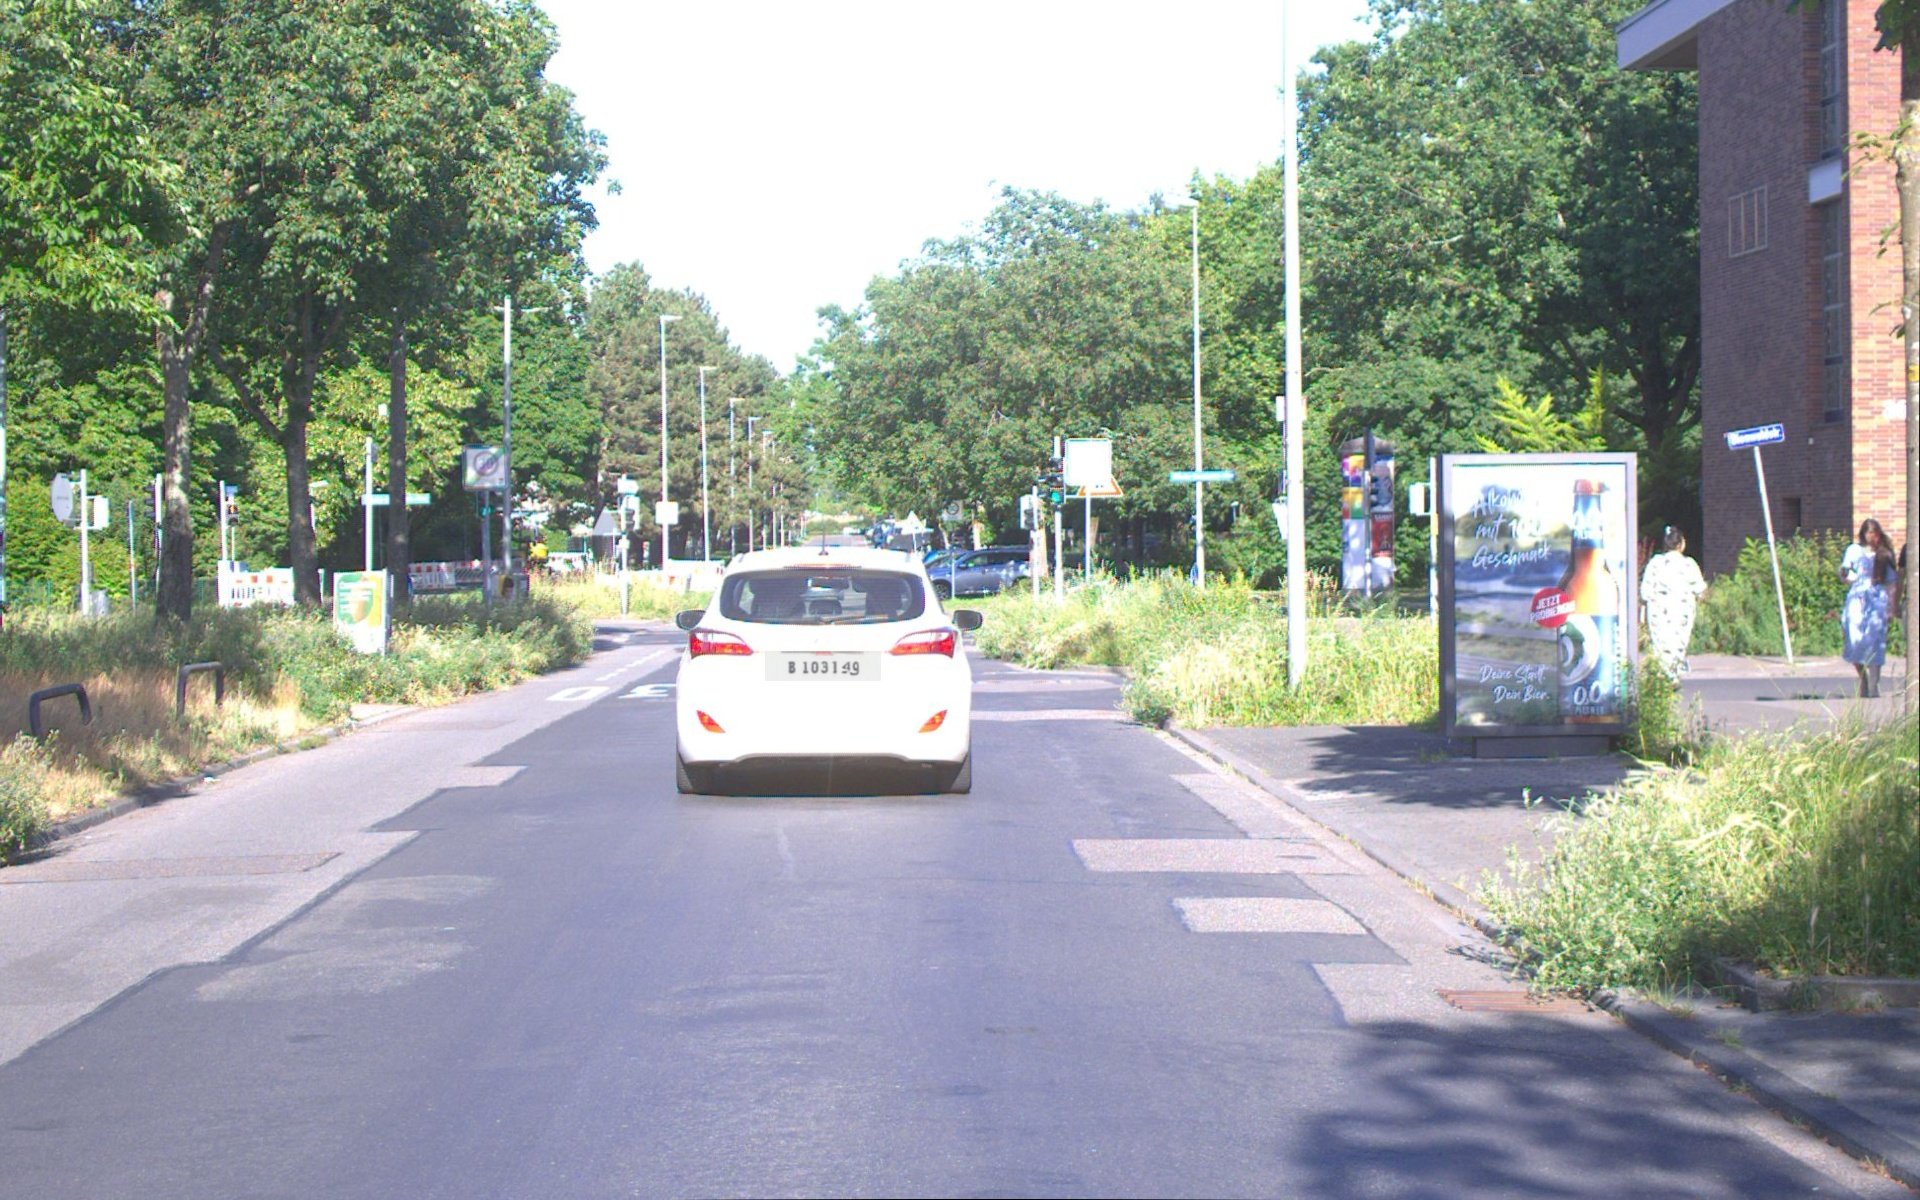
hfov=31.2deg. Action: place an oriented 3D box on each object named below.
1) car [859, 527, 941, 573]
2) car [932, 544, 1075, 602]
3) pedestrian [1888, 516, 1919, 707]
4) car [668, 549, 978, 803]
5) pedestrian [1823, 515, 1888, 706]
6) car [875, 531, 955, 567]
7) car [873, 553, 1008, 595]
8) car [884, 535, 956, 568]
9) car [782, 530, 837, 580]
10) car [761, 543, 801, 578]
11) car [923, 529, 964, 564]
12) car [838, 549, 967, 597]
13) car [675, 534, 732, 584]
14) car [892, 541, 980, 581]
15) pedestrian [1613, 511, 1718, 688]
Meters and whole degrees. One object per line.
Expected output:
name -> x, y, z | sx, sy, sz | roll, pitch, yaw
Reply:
car -> -2.838, -2.324, 161.315 | 3.819, 2.091, 1.863 | 1, 0, -1
car -> 1.387, -0.857, 109.380 | 4.499, 1.777, 1.855 | 0, 1, 1
pedestrian -> 8.808, 0.103, 31.428 | 0.606, 1.726, 0.639 | 1, 0, 15
car -> -0.855, 0.410, 21.831 | 1.789, 1.458, 3.964 | 0, 1, -2
pedestrian -> 8.226, 0.090, 31.581 | 0.554, 1.726, 0.661 | 1, 0, 15
car -> -2.483, -2.803, 188.651 | 4.301, 1.901, 1.863 | 1, 0, -1
car -> -0.856, -1.106, 144.639 | 5.613, 1.678, 1.948 | 1, 0, -1
car -> -2.152, -2.609, 185.511 | 3.819, 1.761, 1.863 | 1, 0, -1
car -> -5.737, -1.730, 131.347 | 1.993, 1.809, 4.000 | 2, 1, -2
car -> -9.428, -2.084, 181.582 | 1.993, 1.809, 4.000 | 0, 1, -2
car -> -0.876, -2.789, 180.537 | 1.993, 1.809, 4.000 | 1, 0, -2
car -> -2.005, -0.958, 121.183 | 4.499, 1.624, 1.855 | 0, 1, 1
car -> -9.900, -1.610, 133.099 | 1.993, 1.809, 4.001 | 1, 2, -2
car -> -1.055, -1.721, 151.321 | 3.819, 1.678, 1.863 | 1, 0, -1
pedestrian -> 7.341, -0.009, 35.814 | 0.899, 1.815, 0.736 | 1, 0, -2
